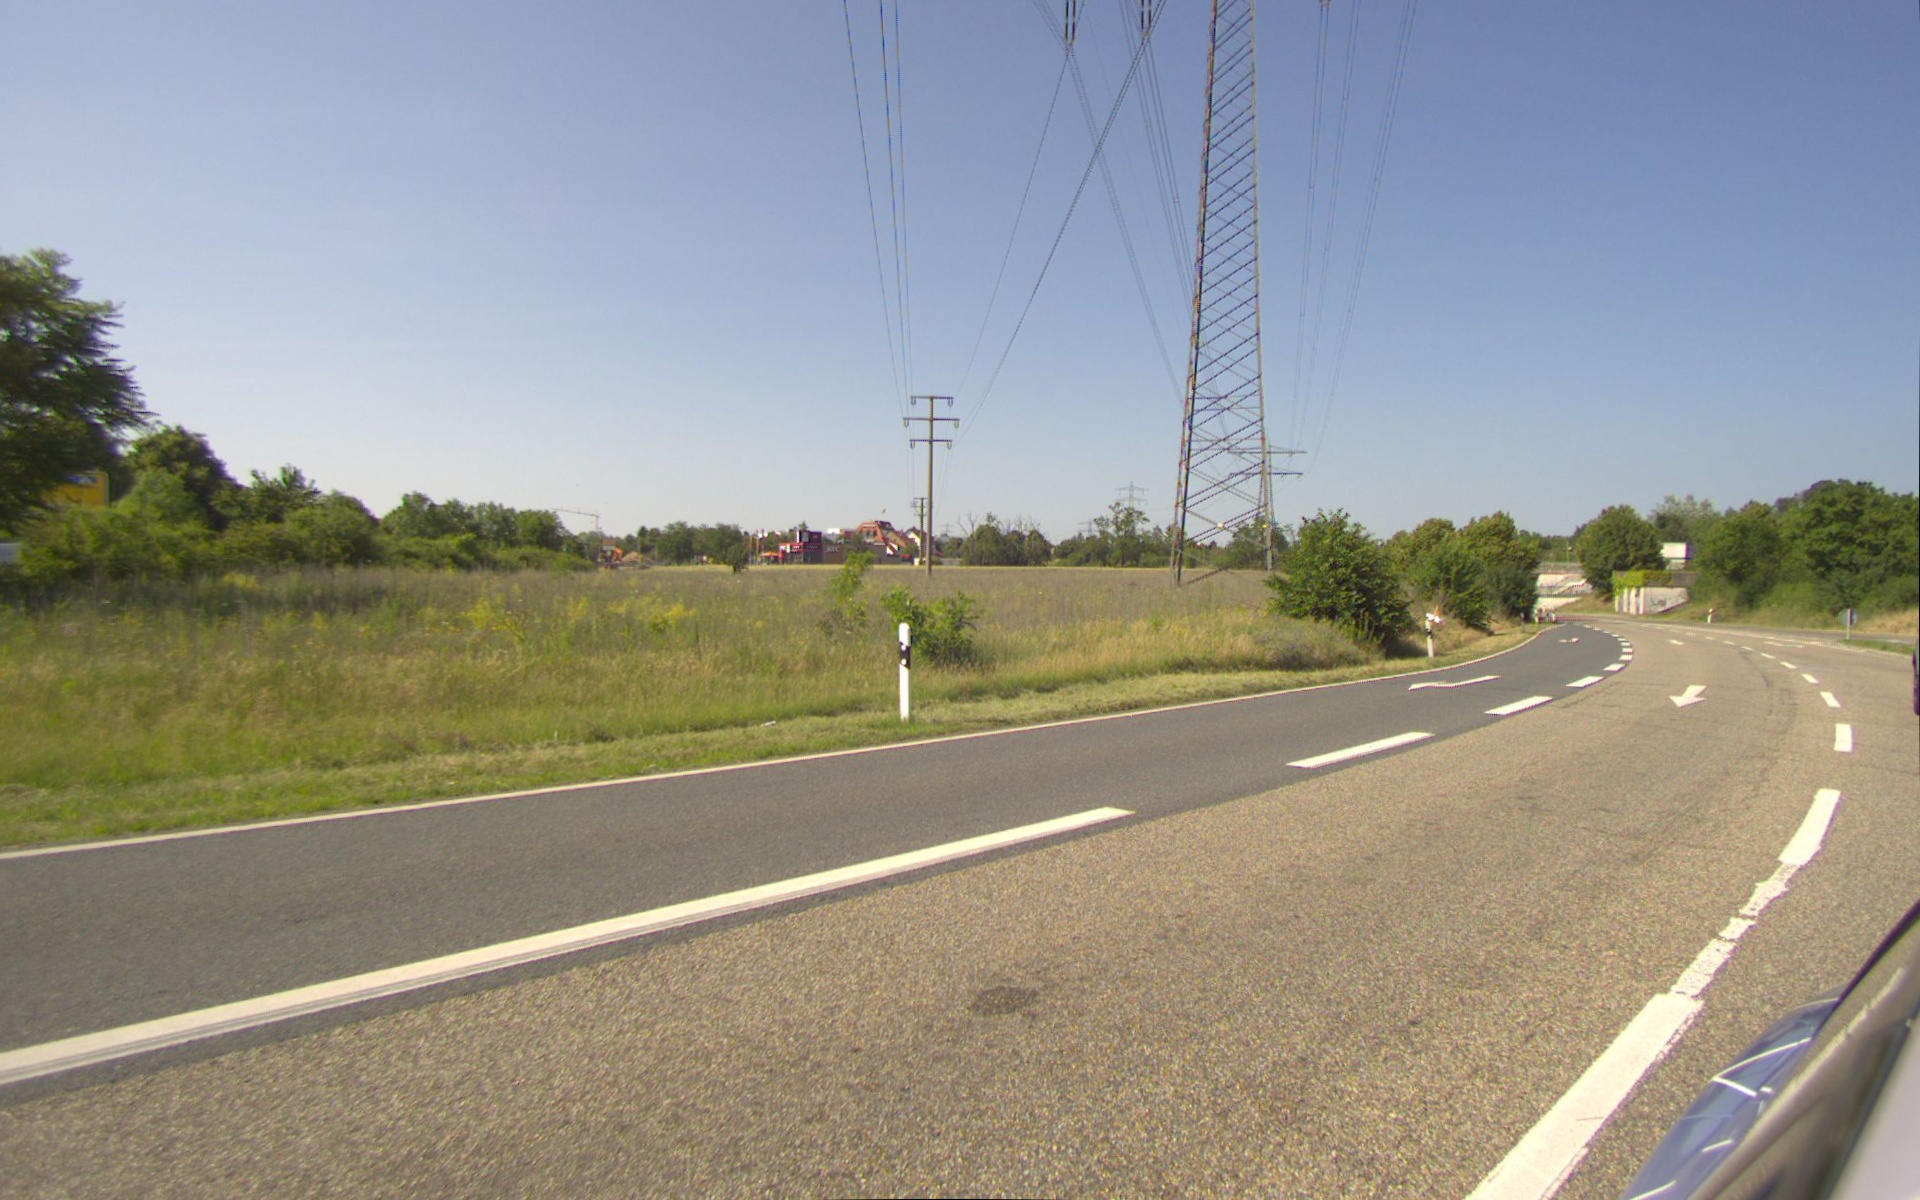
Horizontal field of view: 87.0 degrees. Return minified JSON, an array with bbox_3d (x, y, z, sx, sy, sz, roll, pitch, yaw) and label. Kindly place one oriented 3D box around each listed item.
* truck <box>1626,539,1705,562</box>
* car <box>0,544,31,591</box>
[{"bbox_3d":[109.082,-7.659,156.706,2.329,3.067,10.167,0,0,-27],"label":"truck"},{"bbox_3d":[-51.790,-1.739,54.072,1.431,2.467,3.914,0,0,-12],"label":"car"}]
